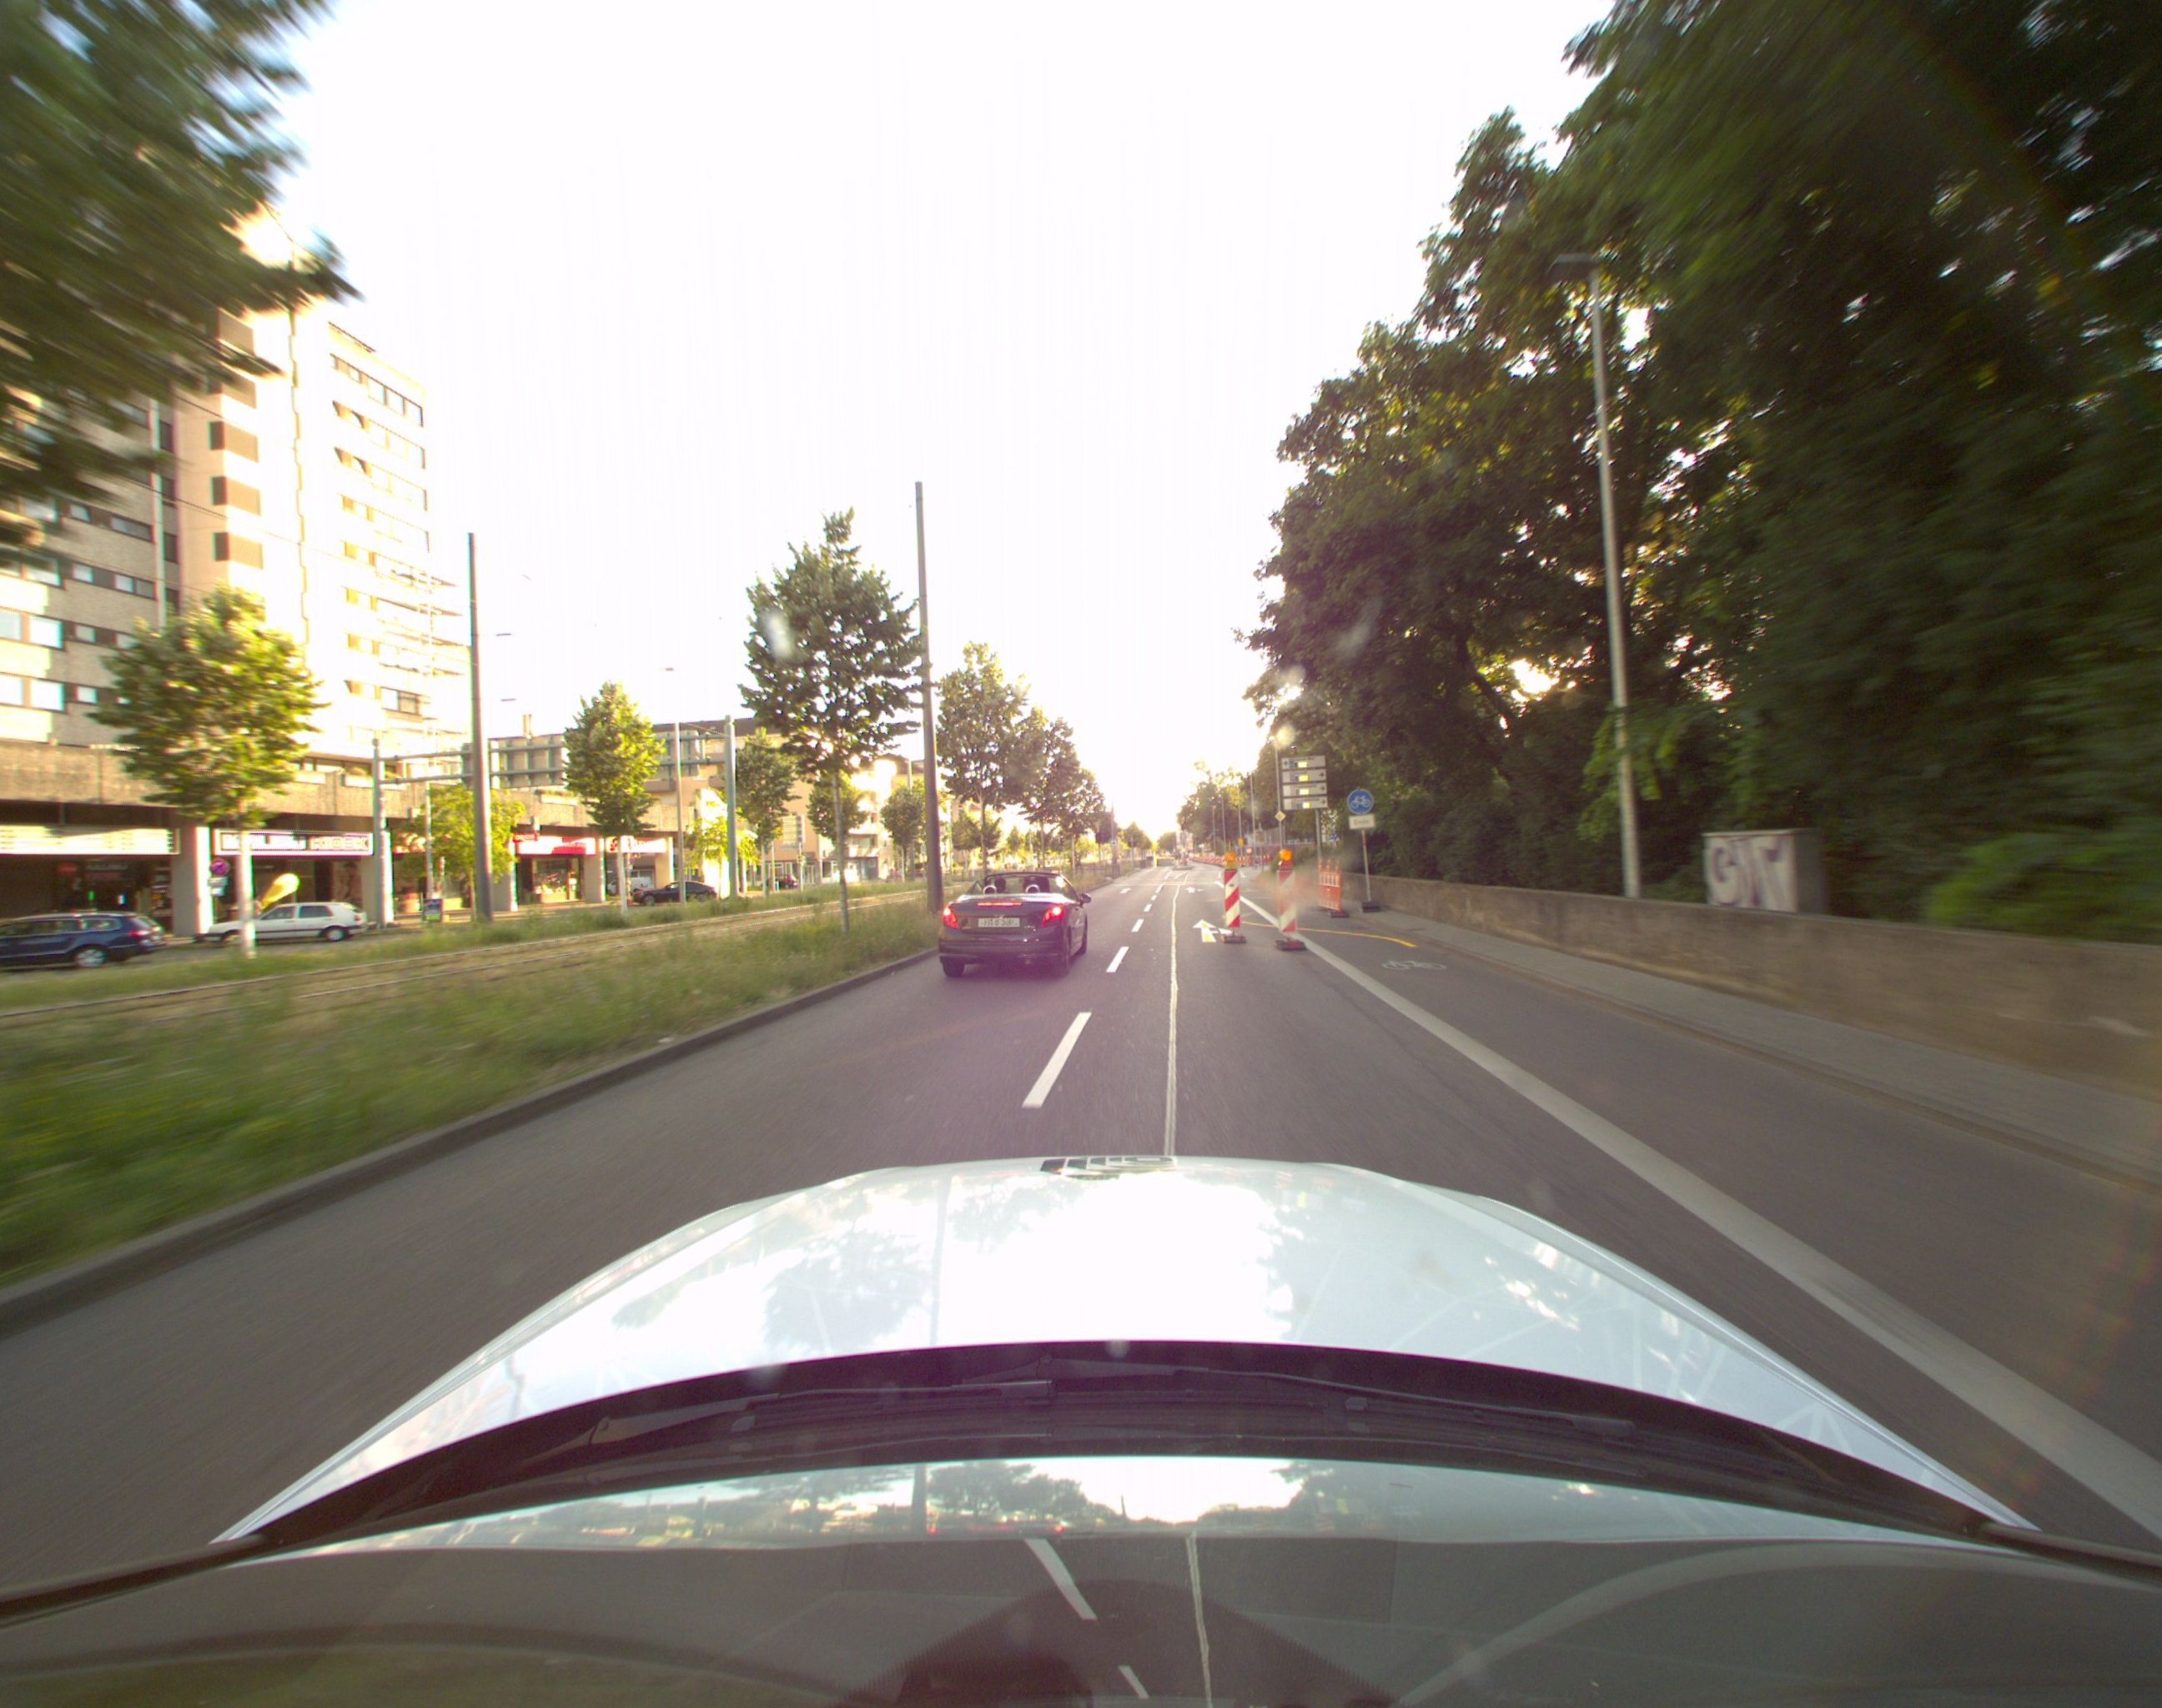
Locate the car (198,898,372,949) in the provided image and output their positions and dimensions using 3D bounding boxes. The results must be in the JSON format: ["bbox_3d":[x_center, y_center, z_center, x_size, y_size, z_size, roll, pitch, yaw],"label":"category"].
[{"bbox_3d":[-28.149,2.417,29.004,4.146,1.436,1.807,-1,0,-33],"label":"car"}]

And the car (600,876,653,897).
[{"bbox_3d":[-49.043,3.501,87.908,4.465,1.990,2.170,-2,-1,5],"label":"car"}]

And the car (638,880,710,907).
[{"bbox_3d":[-25.266,2.432,50.541,3.747,1.450,1.725,-3,-1,-36],"label":"car"}]

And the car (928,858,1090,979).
[{"bbox_3d":[-0.883,0.815,12.086,1.710,1.449,3.907,-1,0,5],"label":"car"}]

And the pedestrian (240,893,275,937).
[{"bbox_3d":[-31.833,2.360,31.491,0.660,1.661,0.662,0,0,7],"label":"pedestrian"}]

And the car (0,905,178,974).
[{"bbox_3d":[-28.625,2.392,22.646,4.302,1.590,1.988,-2,-1,-34],"label":"car"}]

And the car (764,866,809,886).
[{"bbox_3d":[-31.839,2.366,88.001,3.914,1.845,2.195,-3,0,5],"label":"car"}]
